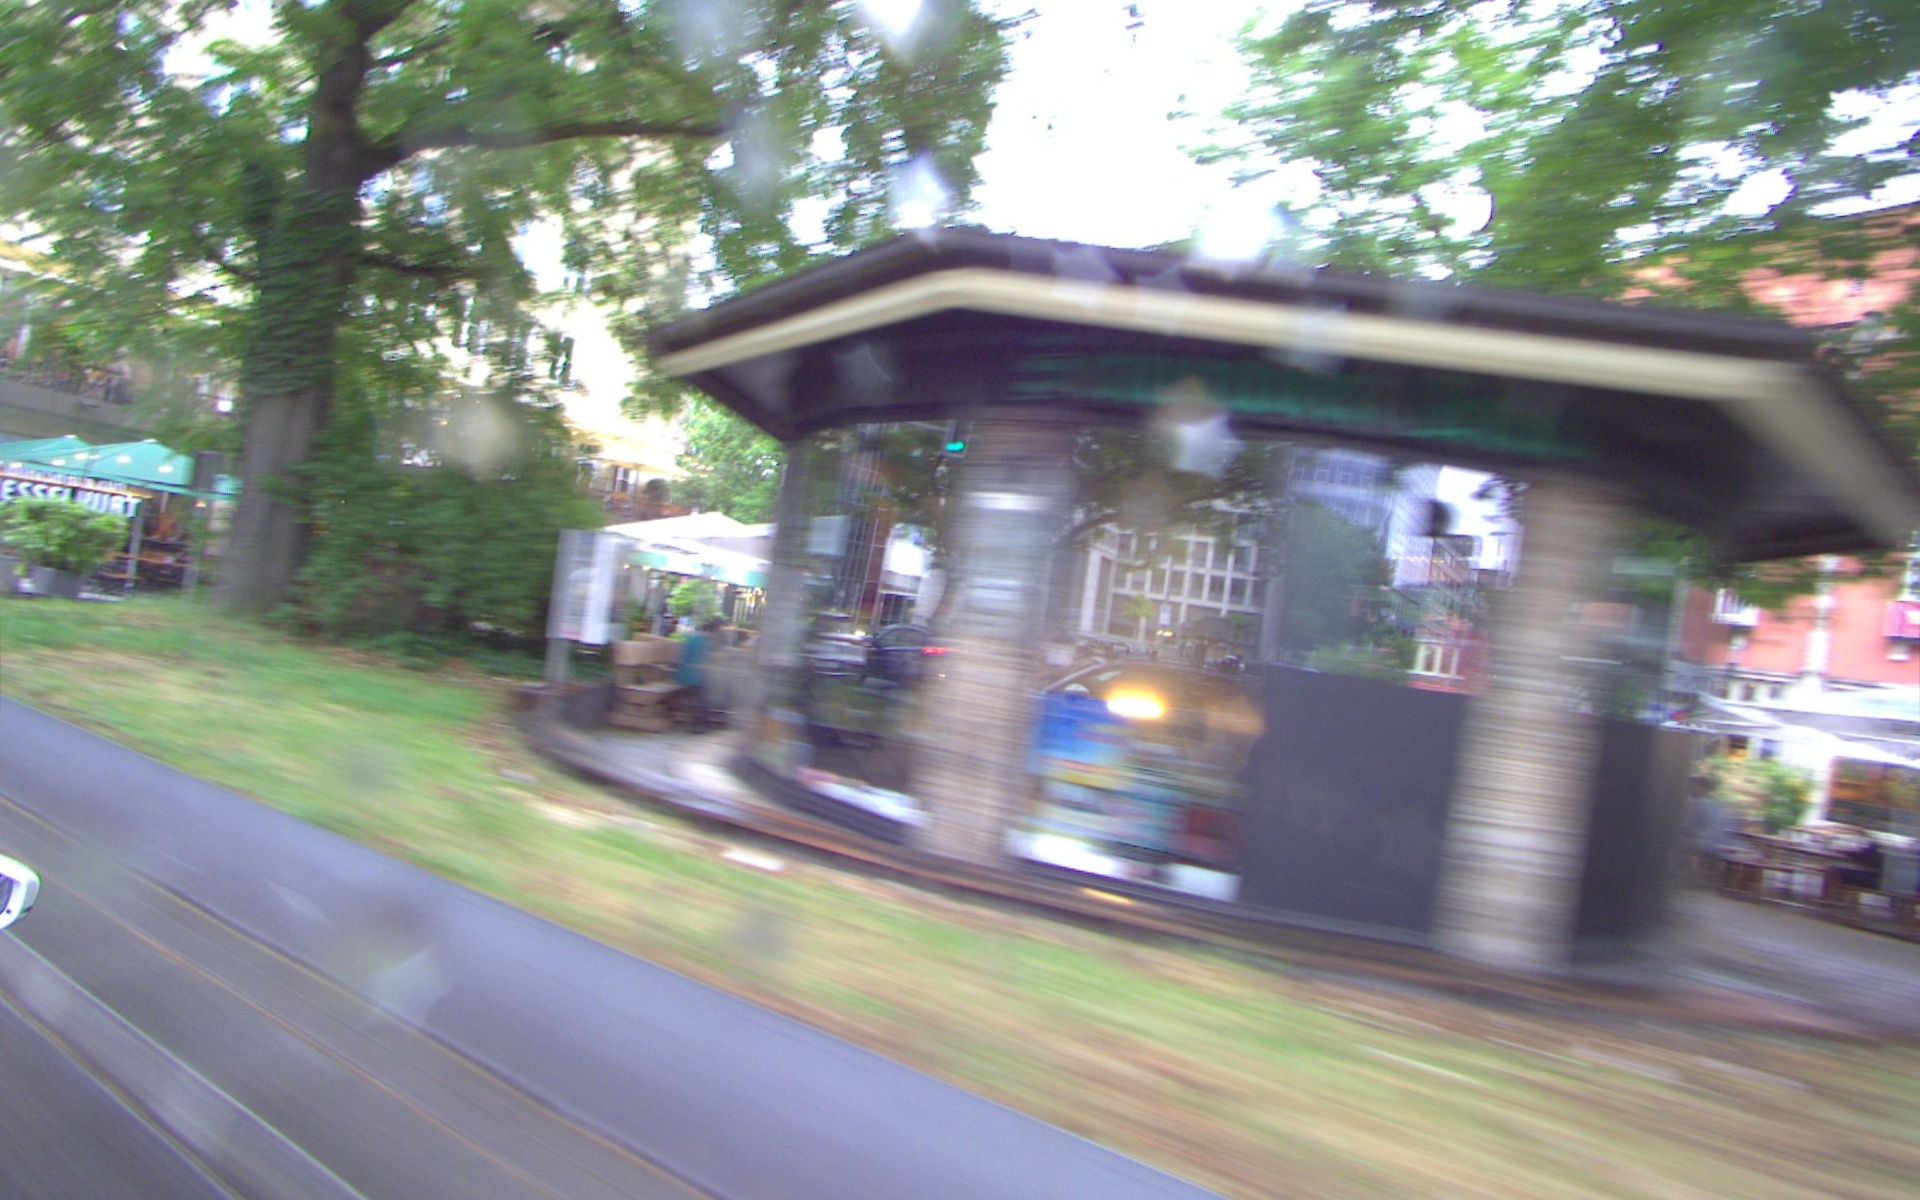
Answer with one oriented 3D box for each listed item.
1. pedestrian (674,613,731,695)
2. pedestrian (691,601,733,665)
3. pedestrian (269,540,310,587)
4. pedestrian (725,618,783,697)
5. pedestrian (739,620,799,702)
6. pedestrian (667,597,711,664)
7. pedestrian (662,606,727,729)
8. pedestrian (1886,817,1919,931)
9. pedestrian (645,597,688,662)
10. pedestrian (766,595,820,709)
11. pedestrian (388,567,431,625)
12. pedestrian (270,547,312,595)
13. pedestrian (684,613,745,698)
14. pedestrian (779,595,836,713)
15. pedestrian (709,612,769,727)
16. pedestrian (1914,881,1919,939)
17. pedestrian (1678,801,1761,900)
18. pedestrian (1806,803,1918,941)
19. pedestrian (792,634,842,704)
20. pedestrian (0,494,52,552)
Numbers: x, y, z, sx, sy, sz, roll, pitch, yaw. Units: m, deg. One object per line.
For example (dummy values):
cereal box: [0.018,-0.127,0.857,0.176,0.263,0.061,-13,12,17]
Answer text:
pedestrian: [-4.663,0.968,18.194,0.634,1.342,0.940,9,-2,-27]
pedestrian: [-6.852,0.914,27.819,0.615,1.661,0.677,8,-2,26]
pedestrian: [-16.998,-0.928,25.505,0.536,1.067,0.555,8,-1,31]
pedestrian: [-3.831,1.064,18.676,0.712,1.342,0.637,10,-2,-29]
pedestrian: [-3.419,1.093,18.031,0.712,1.342,0.637,10,-2,-29]
pedestrian: [-7.239,0.826,26.881,0.615,1.661,0.677,8,-2,26]
pedestrian: [-3.284,0.834,12.476,0.512,1.433,0.342,8,-2,0]
pedestrian: [12.635,3.588,13.003,0.846,1.357,0.818,6,-1,42]
pedestrian: [-8.020,0.810,27.539,0.615,1.661,0.673,8,-2,26]
pedestrian: [-2.621,0.800,15.758,0.493,1.699,0.544,9,-2,-22]
pedestrian: [-13.683,-0.089,25.018,0.418,1.337,0.649,7,-2,26]
pedestrian: [-16.459,-0.714,24.743,0.536,1.067,0.555,8,-1,31]
pedestrian: [-4.257,0.959,17.433,0.712,1.342,0.637,10,-2,-29]
pedestrian: [-2.311,0.806,15.221,0.493,1.699,0.544,9,-2,-22]
pedestrian: [-2.908,0.907,13.246,0.512,1.433,0.342,8,-2,0]
pedestrian: [11.715,3.307,11.629,0.846,1.357,0.818,6,-1,42]
pedestrian: [12.248,4.007,16.223,0.852,1.357,0.812,8,-1,-43]
pedestrian: [10.665,3.181,11.913,0.846,1.357,0.818,6,-1,42]
pedestrian: [-2.822,1.352,19.841,0.627,1.254,0.572,10,-2,-29]
pedestrian: [-19.424,-1.601,20.925,0.536,1.067,0.555,8,-1,31]
